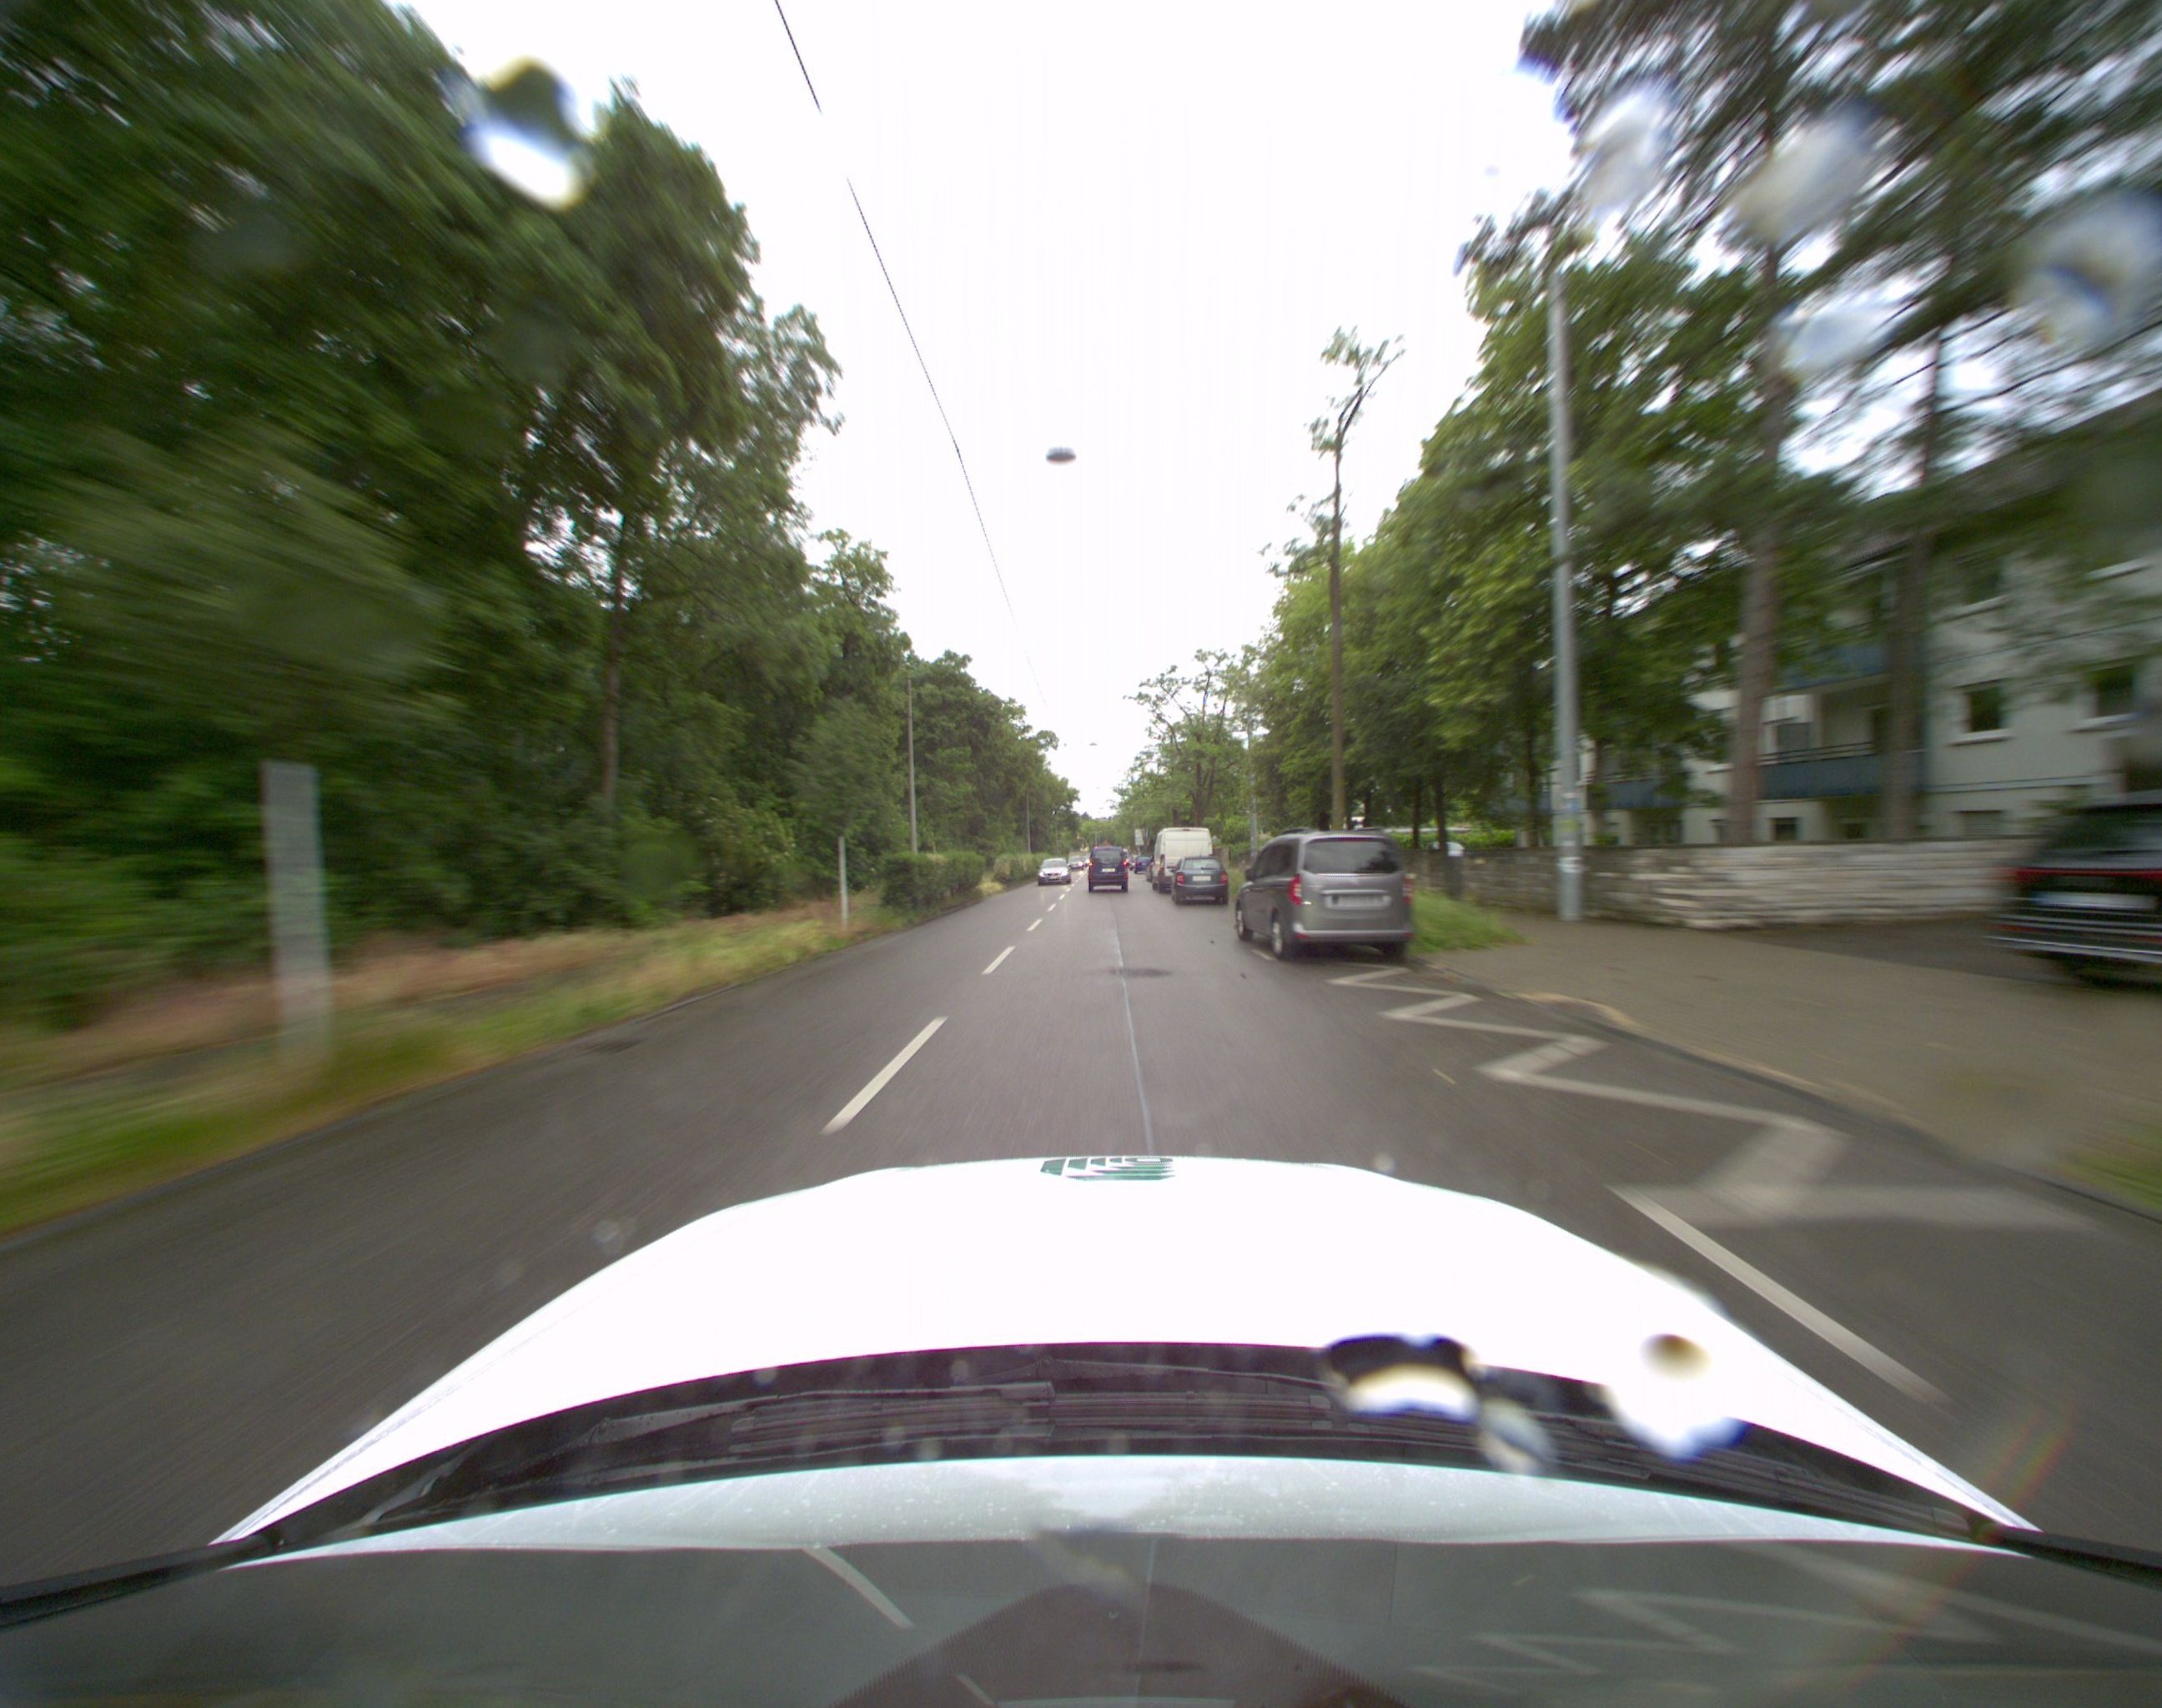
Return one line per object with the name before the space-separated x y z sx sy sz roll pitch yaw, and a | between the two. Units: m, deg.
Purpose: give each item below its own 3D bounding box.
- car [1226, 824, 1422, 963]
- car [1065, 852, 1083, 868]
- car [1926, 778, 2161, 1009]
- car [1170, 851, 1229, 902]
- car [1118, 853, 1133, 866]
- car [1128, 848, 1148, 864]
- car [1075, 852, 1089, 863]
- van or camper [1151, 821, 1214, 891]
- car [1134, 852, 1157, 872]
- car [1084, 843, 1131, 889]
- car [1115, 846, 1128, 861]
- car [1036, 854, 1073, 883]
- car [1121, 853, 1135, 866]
car | 3.574 0.485 12.811 1.809 1.813 4.282 0 1 0
car | -0.722 0.624 86.138 1.723 1.492 4.001 -3 1 1
car | 9.993 0.132 6.481 4.293 1.682 2.001 -4 -1 2
car | 3.673 0.654 25.692 1.618 1.464 3.813 0 1 5
car | 5.174 0.665 95.677 1.627 1.510 2.958 0 1 0
car | 5.542 0.161 79.498 1.613 1.508 3.834 0 1 0
car | 0.221 0.454 124.537 1.849 1.468 4.449 -4 1 2
van or camper | 4.075 0.048 33.556 2.071 2.650 5.348 0 1 1
car | 5.203 0.652 66.320 1.714 1.505 4.052 0 1 2
car | 1.061 0.452 34.125 1.762 1.830 3.540 0 1 -1
car | 7.144 -0.125 143.388 2.197 2.449 4.731 -2 0 2
car | -1.452 0.800 45.531 1.777 1.479 3.968 -2 -1 1
car | 5.952 0.686 102.105 1.690 1.524 3.872 0 1 4
